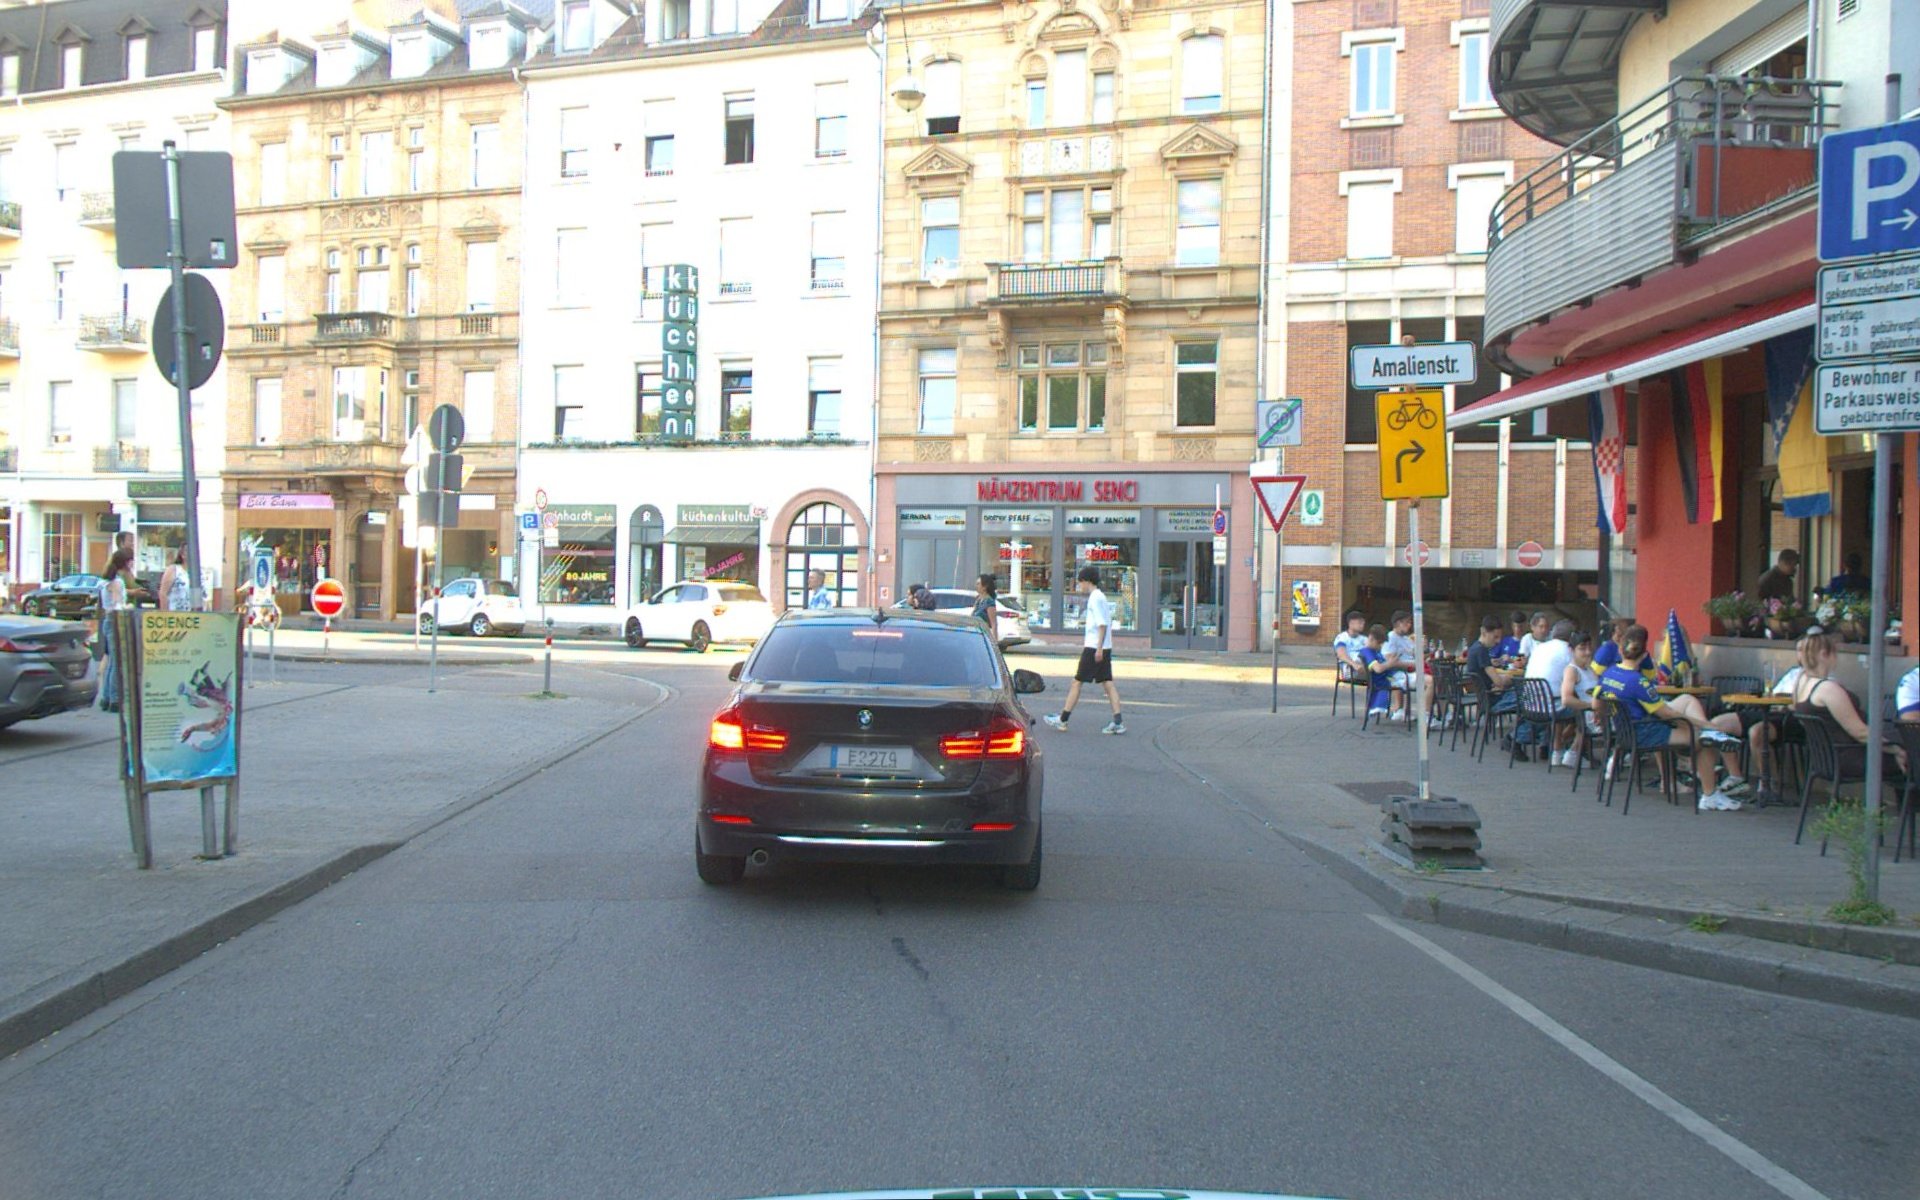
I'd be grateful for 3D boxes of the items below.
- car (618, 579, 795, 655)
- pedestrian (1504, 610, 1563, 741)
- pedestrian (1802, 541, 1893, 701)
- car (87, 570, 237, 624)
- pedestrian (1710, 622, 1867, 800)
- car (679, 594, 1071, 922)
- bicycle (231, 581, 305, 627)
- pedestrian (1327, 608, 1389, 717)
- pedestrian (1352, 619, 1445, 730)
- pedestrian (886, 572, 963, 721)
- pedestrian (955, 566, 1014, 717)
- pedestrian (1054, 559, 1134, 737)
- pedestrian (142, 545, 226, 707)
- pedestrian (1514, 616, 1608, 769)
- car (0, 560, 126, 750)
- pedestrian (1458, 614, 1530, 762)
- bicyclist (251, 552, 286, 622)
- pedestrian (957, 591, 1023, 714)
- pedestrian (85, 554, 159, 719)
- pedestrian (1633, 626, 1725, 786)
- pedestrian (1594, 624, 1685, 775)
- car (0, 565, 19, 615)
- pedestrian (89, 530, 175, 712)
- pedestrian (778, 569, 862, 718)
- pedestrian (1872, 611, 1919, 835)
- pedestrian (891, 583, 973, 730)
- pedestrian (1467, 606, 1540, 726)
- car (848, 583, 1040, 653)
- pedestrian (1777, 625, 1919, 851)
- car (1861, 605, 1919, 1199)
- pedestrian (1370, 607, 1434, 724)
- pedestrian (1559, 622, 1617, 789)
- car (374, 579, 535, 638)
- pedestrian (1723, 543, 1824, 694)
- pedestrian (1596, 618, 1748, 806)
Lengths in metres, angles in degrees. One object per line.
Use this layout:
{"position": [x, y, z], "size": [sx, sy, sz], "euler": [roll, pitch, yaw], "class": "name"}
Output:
{"position": [-5.452, 0.321, 35.310], "size": [1.868, 1.498, 3.937], "euler": [0, 1, -43], "class": "car"}
{"position": [5.850, 0.758, 16.878], "size": [0.479, 1.299, 0.522], "euler": [1, 0, 10], "class": "pedestrian"}
{"position": [9.304, 0.216, 17.351], "size": [0.524, 1.635, 0.605], "euler": [2, 0, -24], "class": "pedestrian"}
{"position": [-23.800, -0.079, 49.345], "size": [3.904, 1.537, 1.800], "euler": [1, -1, 20], "class": "car"}
{"position": [6.163, 0.809, 12.332], "size": [0.763, 1.244, 0.714], "euler": [-2, 0, -3], "class": "pedestrian"}
{"position": [-0.465, 0.714, 9.890], "size": [1.729, 1.399, 4.788], "euler": [2, 1, -2], "class": "car"}
{"position": [-17.910, 0.111, 42.816], "size": [1.756, 1.127, 0.538], "euler": [2, 0, 12], "class": "bicycle"}
{"position": [4.834, 0.747, 20.117], "size": [0.604, 1.276, 0.736], "euler": [1, 0, 3], "class": "pedestrian"}
{"position": [4.793, 0.800, 18.109], "size": [0.871, 1.170, 0.619], "euler": [1, 0, 4], "class": "pedestrian"}
{"position": [-0.410, 0.518, 18.733], "size": [0.711, 1.637, 0.648], "euler": [3, 0, -12], "class": "pedestrian"}
{"position": [0.299, 0.488, 19.892], "size": [0.653, 1.776, 0.607], "euler": [1, 0, 3], "class": "pedestrian"}
{"position": [1.496, 0.520, 18.402], "size": [0.684, 1.910, 0.678], "euler": [2, 0, 20], "class": "pedestrian"}
{"position": [-8.723, 0.275, 18.596], "size": [0.663, 1.776, 0.653], "euler": [1, 0, 43], "class": "pedestrian"}
{"position": [5.315, 0.800, 14.625], "size": [0.622, 1.298, 0.504], "euler": [-2, 0, -40], "class": "pedestrian"}
{"position": [-9.452, 0.416, 13.939], "size": [3.915, 1.527, 1.886], "euler": [1, 0, -11], "class": "car"}
{"position": [4.939, 0.806, 15.313], "size": [0.481, 1.326, 0.418], "euler": [-2, 0, -3], "class": "pedestrian"}
{"position": [-17.906, -0.345, 42.822], "size": [0.604, 1.787, 0.526], "euler": [2, 0, 12], "class": "bicyclist"}
{"position": [0.379, 0.639, 20.572], "size": [0.798, 1.500, 0.607], "euler": [1, 0, 1], "class": "pedestrian"}
{"position": [-8.648, 0.365, 17.079], "size": [0.490, 1.672, 0.520], "euler": [1, 0, -1], "class": "pedestrian"}
{"position": [5.705, 0.827, 13.130], "size": [0.528, 1.222, 0.415], "euler": [-2, 0, 45], "class": "pedestrian"}
{"position": [5.698, 0.821, 13.877], "size": [0.415, 1.222, 0.560], "euler": [-2, 0, -44], "class": "pedestrian"}
{"position": [-31.595, -0.328, 51.593], "size": [3.904, 1.537, 1.800], "euler": [1, -1, 20], "class": "car"}
{"position": [-8.902, 0.214, 17.792], "size": [0.571, 1.915, 0.634], "euler": [1, 0, 3], "class": "pedestrian"}
{"position": [-1.709, 0.519, 20.259], "size": [0.876, 1.755, 0.608], "euler": [2, 2, 4], "class": "pedestrian"}
{"position": [6.188, 0.757, 10.317], "size": [0.594, 1.371, 0.696], "euler": [0, 0, -4], "class": "pedestrian"}
{"position": [-0.313, 0.606, 18.061], "size": [0.722, 1.540, 0.648], "euler": [3, 0, -12], "class": "pedestrian"}
{"position": [6.147, 0.728, 18.687], "size": [0.606, 1.301, 0.698], "euler": [1, 0, 35], "class": "pedestrian"}
{"position": [-0.369, 0.428, 40.064], "size": [4.261, 1.590, 1.869], "euler": [1, -1, 20], "class": "car"}
{"position": [5.381, 0.807, 9.933], "size": [0.672, 1.309, 0.609], "euler": [0, 0, 7], "class": "pedestrian"}
{"position": [3.370, 0.858, 2.017], "size": [1.730, 1.528, 4.788], "euler": [3, 0, -2], "class": "car"}
{"position": [5.047, 0.736, 18.912], "size": [0.604, 1.306, 0.660], "euler": [1, 0, 6], "class": "pedestrian"}
{"position": [4.953, 0.825, 13.036], "size": [0.337, 1.279, 0.359], "euler": [-2, 0, 31], "class": "pedestrian"}
{"position": [-13.848, 0.215, 45.313], "size": [3.904, 1.537, 1.800], "euler": [1, -1, 20], "class": "car"}
{"position": [9.025, 0.203, 18.355], "size": [0.705, 1.635, 0.682], "euler": [2, 0, -29], "class": "pedestrian"}
{"position": [5.082, 0.787, 11.832], "size": [0.841, 1.279, 0.491], "euler": [-2, 0, -3], "class": "pedestrian"}
